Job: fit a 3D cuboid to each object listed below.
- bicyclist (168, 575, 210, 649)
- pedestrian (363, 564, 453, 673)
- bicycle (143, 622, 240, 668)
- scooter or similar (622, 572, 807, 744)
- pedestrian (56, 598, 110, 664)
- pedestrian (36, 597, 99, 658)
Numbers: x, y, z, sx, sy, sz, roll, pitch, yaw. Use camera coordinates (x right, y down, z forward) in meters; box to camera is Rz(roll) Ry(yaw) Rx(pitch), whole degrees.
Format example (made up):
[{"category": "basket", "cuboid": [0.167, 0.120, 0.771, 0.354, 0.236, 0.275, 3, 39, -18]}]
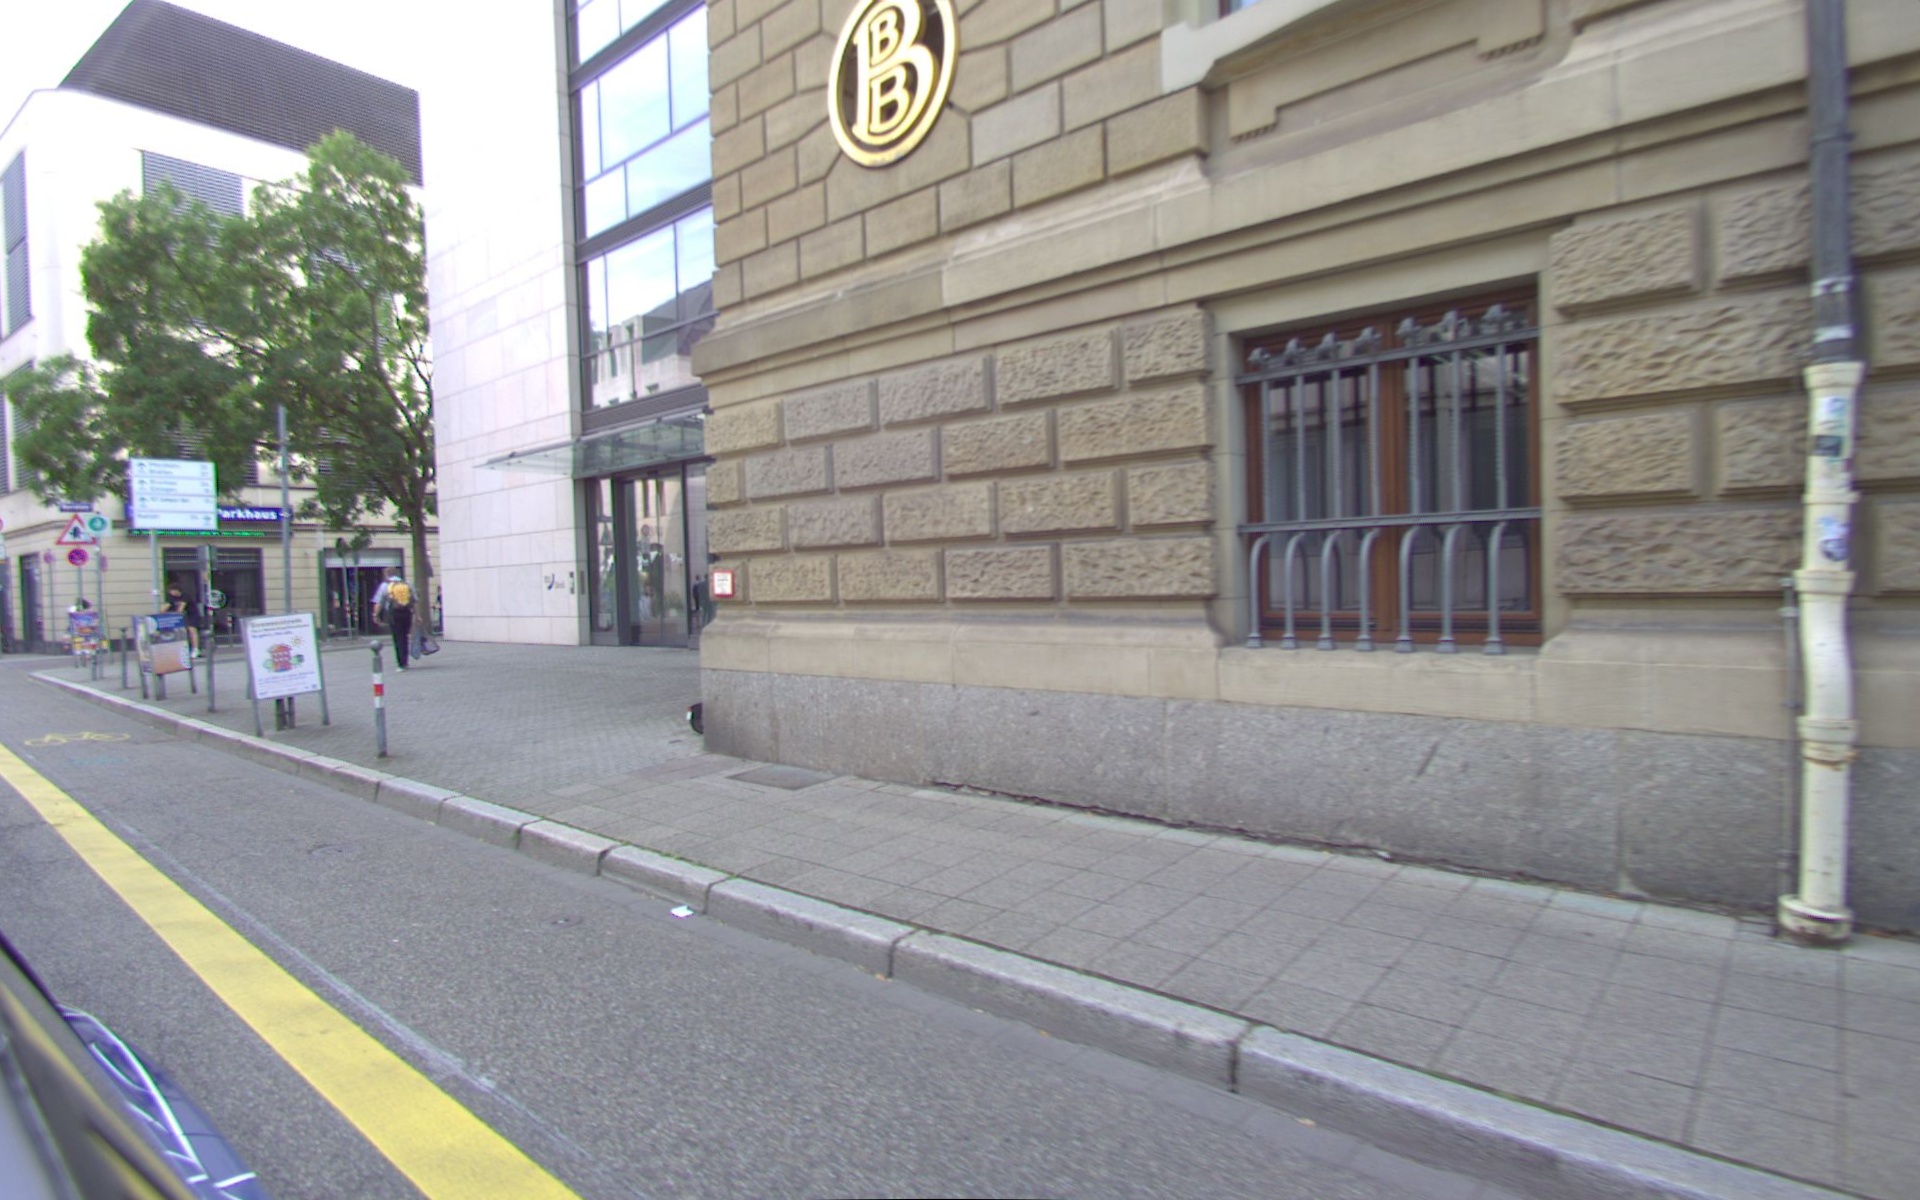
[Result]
[{"category": "bicyclist", "cuboid": [-17.664, 0.266, 23.196, 0.634, 1.631, 0.624, -6, 3, -38]}, {"category": "pedestrian", "cuboid": [-9.297, 0.295, 17.064, 0.818, 1.732, 1.015, -1, 3, 41]}, {"category": "bicycle", "cuboid": [-17.657, 1.030, 23.266, 1.698, 0.840, 0.602, -7, 2, -40]}, {"category": "scooter or similar", "cuboid": [-2.141, 0.468, 8.983, 0.587, 1.320, 1.432, -2, 3, 40]}, {"category": "pedestrian", "cuboid": [-24.300, 0.847, 28.046, 0.910, 1.721, 0.868, 0, 5, 41]}, {"category": "pedestrian", "cuboid": [-28.177, 0.844, 31.968, 1.043, 1.777, 0.895, -5, 4, -15]}]
